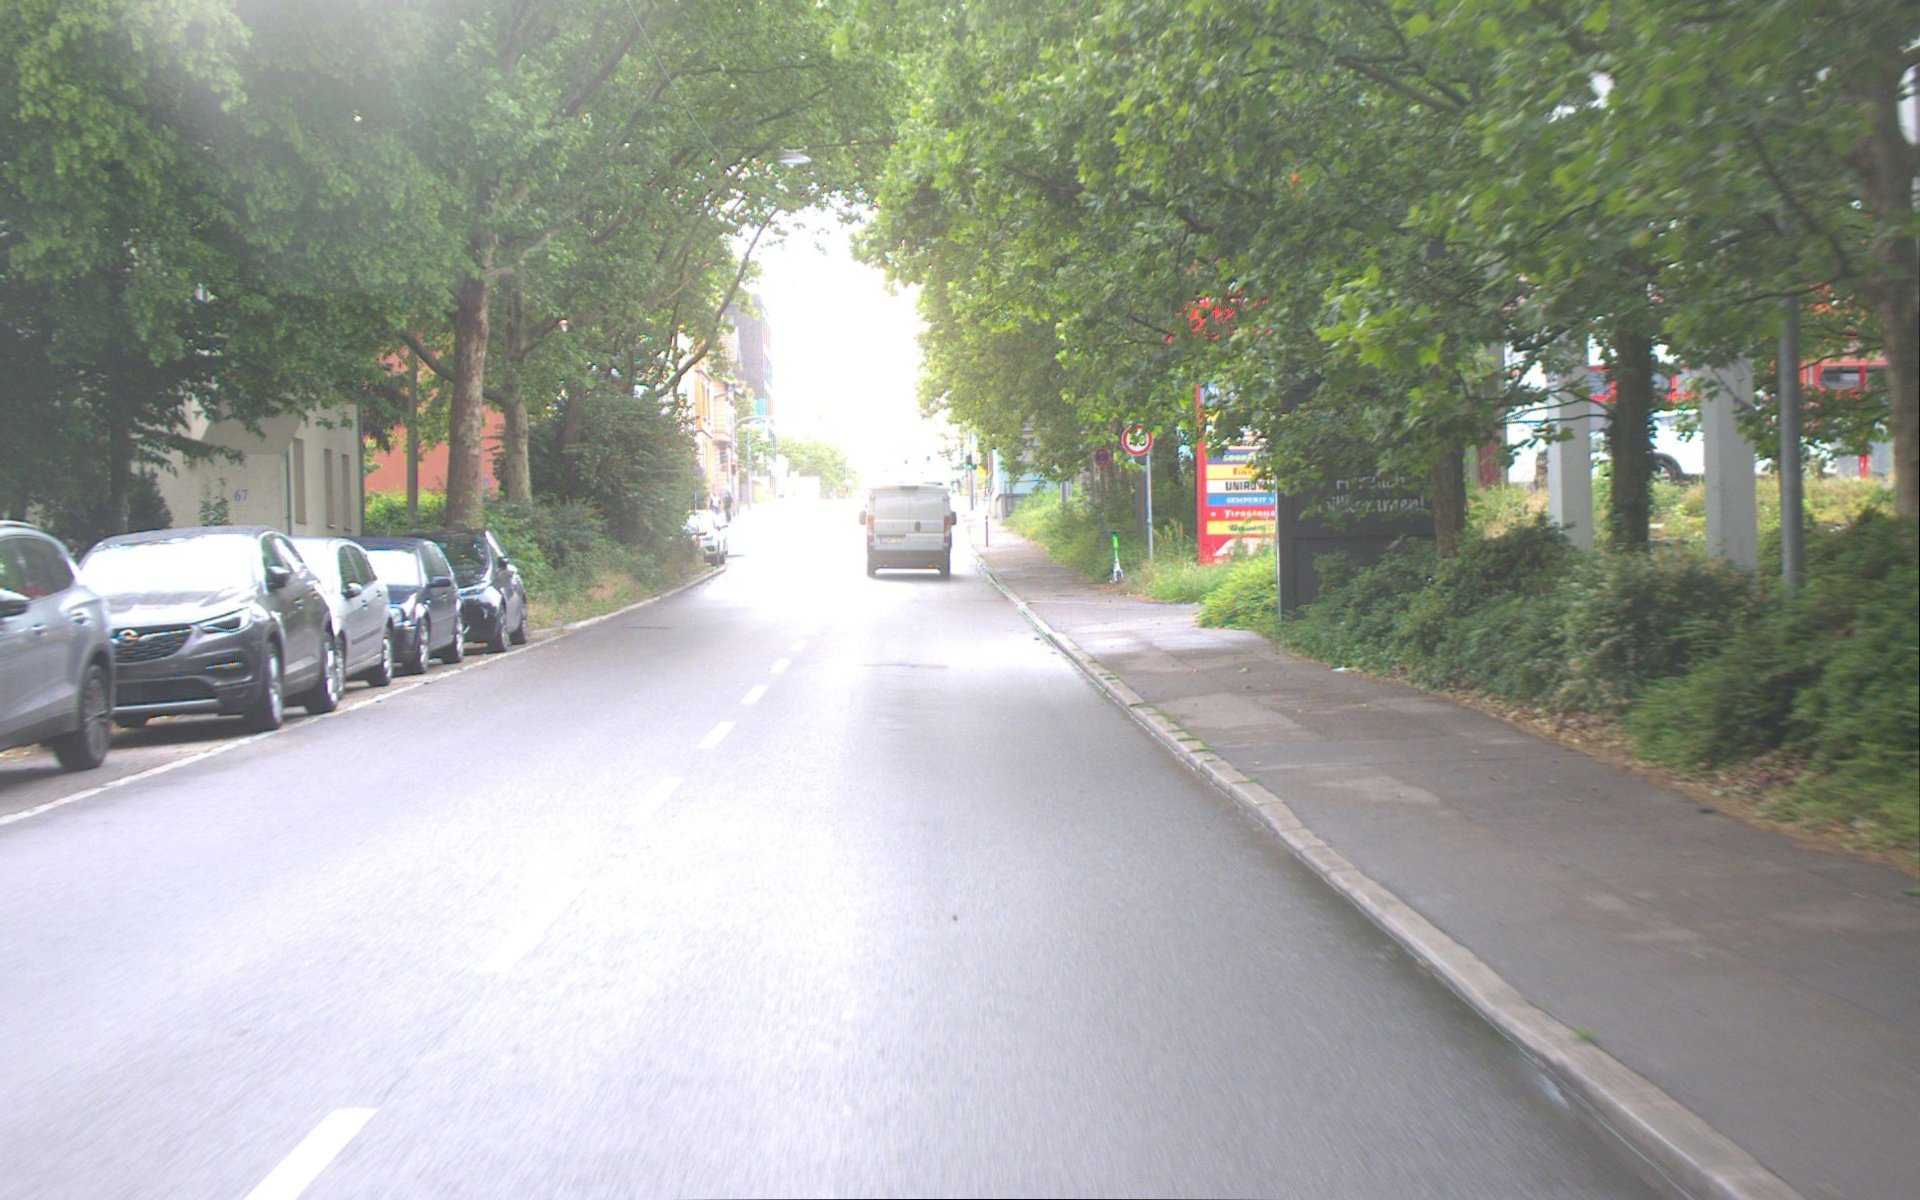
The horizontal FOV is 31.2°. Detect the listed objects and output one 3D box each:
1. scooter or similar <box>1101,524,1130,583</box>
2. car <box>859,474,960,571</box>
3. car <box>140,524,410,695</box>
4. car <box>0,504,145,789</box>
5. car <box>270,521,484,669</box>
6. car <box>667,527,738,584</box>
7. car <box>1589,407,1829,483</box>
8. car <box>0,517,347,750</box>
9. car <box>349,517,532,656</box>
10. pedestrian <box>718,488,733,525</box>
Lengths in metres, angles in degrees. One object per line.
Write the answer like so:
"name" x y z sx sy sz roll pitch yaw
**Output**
"scooter or similar" 3.079 -0.909 68.211 0.425 1.138 1.529 1 -1 -3
"car" -1.207 -1.866 83.621 2.336 2.223 4.000 -2 0 0
"car" -6.382 0.036 32.454 1.672 1.503 4.123 0 1 1
"car" -6.550 0.313 21.338 1.734 1.652 4.564 -5 2 1
"car" -6.288 -0.098 37.444 1.672 1.503 3.874 0 1 0
"car" -7.294 -1.269 97.642 1.691 1.537 4.117 -2 1 0
"car" 14.105 -2.920 64.900 4.100 1.371 1.903 0 1 0
"car" -6.100 0.195 27.037 1.864 1.586 4.240 -3 1 -2
"car" -6.456 -0.202 43.065 1.647 1.532 4.019 -5 1 -1
"pedestrian" -12.833 -5.130 188.468 0.671 2.006 0.941 0 2 4
